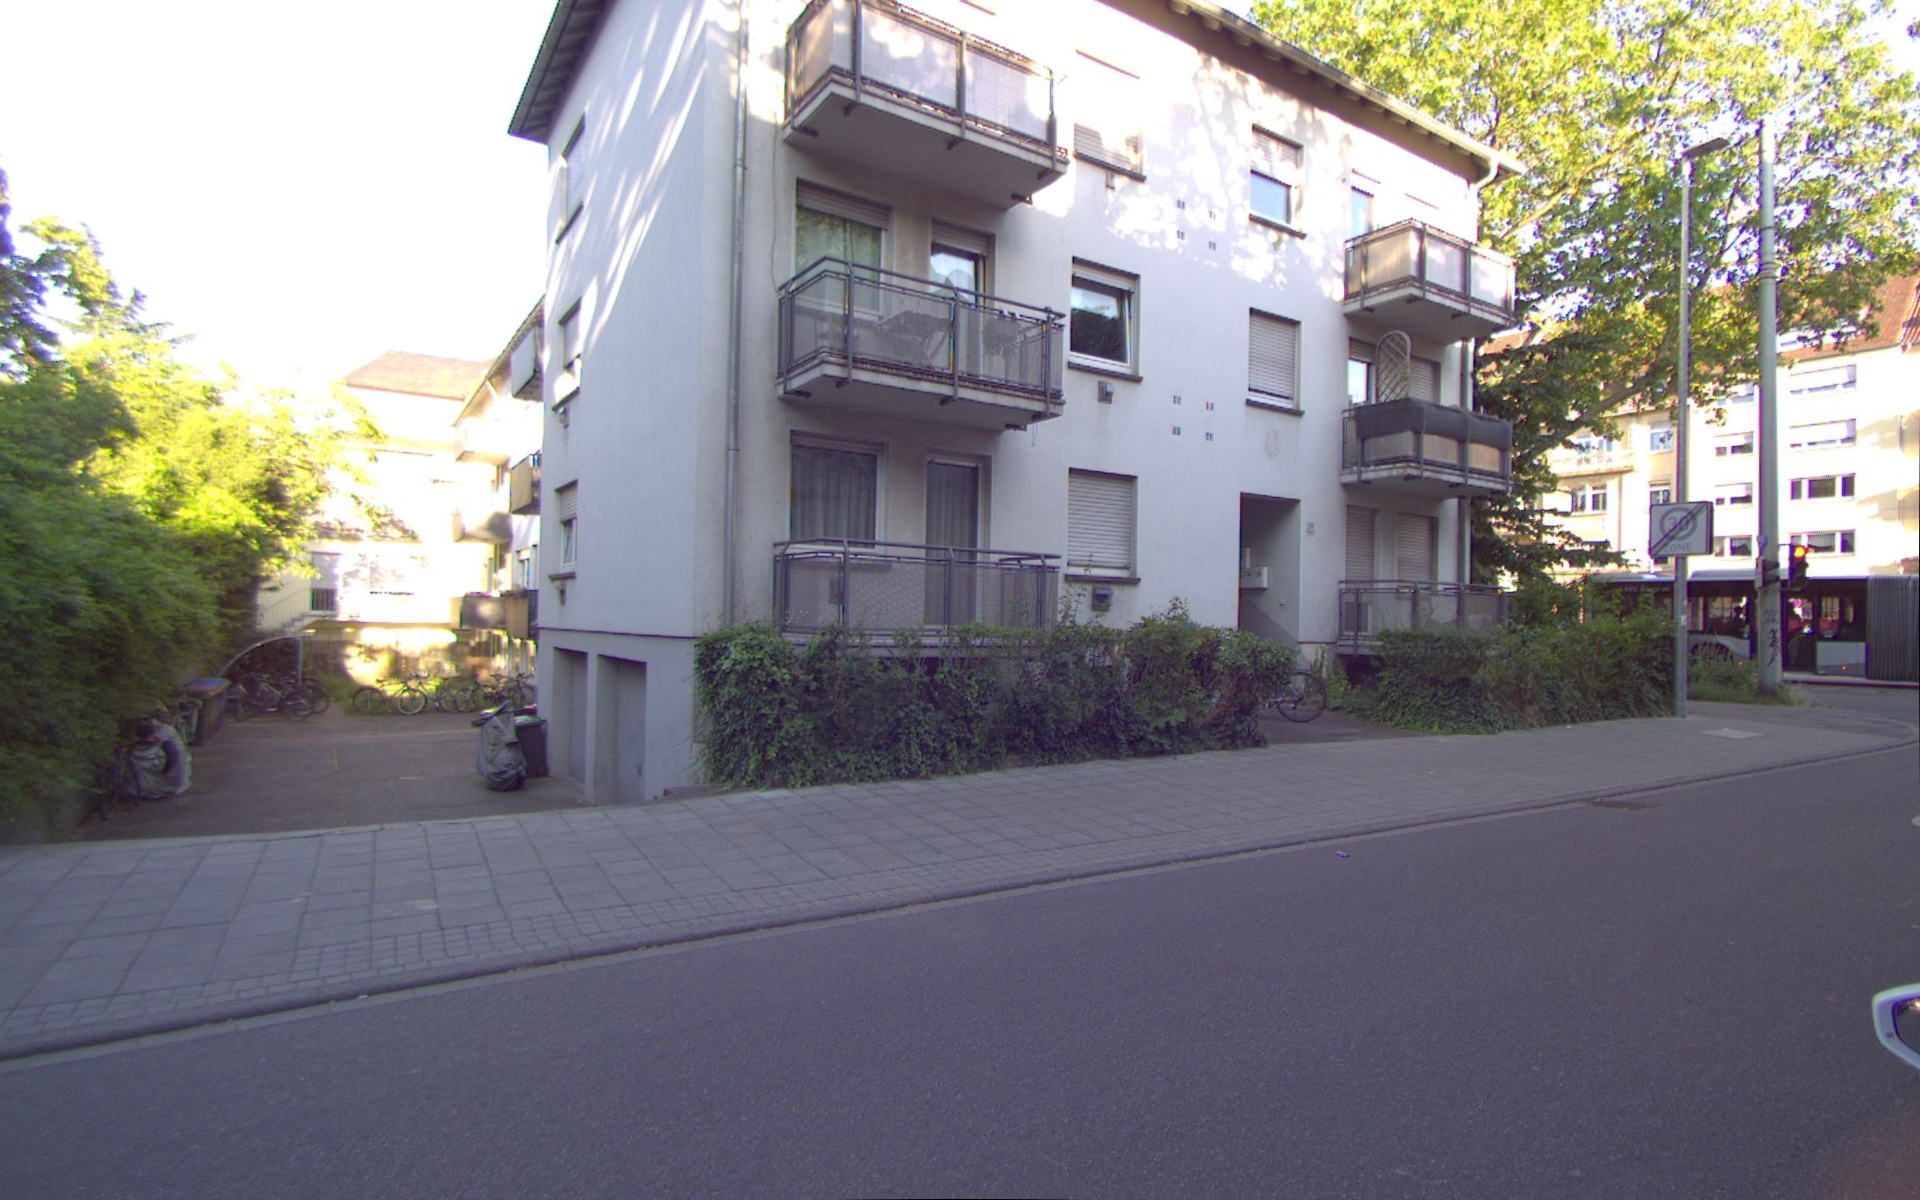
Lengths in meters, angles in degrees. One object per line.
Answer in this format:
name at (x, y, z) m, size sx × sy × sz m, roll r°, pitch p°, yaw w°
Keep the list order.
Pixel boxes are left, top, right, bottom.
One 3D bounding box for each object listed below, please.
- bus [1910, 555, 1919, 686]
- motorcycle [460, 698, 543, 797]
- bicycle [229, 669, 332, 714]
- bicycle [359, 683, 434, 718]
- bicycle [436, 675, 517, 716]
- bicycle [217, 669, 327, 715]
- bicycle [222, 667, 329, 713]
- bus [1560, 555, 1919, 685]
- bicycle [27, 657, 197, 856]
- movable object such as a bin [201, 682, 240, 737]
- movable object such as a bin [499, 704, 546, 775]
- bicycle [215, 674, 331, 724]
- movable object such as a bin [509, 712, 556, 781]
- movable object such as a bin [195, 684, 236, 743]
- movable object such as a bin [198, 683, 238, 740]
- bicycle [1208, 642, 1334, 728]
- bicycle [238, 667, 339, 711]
bus at (27.915, 0.472, 21.742) m, size 2.885 × 3.243 × 10.376 m, roll 1°, pitch -1°, yaw -37°
motorcycle at (-6.977, 2.195, 15.257) m, size 0.739 × 1.313 × 1.563 m, roll 2°, pitch -2°, yaw -41°
bicycle at (-18.936, 2.541, 28.069) m, size 2.311 × 1.192 × 0.689 m, roll 2°, pitch -4°, yaw -30°
bicycle at (-15.129, 2.690, 27.003) m, size 1.734 × 0.890 × 0.561 m, roll 2°, pitch -4°, yaw -30°
bicycle at (-13.475, 2.634, 28.004) m, size 1.982 × 1.085 × 0.561 m, roll 2°, pitch -4°, yaw -30°
bicycle at (-18.164, 2.407, 26.601) m, size 2.311 × 1.148 × 0.689 m, roll 2°, pitch -4°, yaw -30°
bicycle at (-18.590, 2.425, 27.347) m, size 2.311 × 1.192 × 0.689 m, roll 2°, pitch -4°, yaw -30°
bus at (22.367, 0.581, 29.084) m, size 2.885 × 3.243 × 8.116 m, roll 1°, pitch -1°, yaw -37°
bicycle at (-10.159, 1.707, 12.240) m, size 0.961 × 1.917 × 4.156 m, roll 1°, pitch -2°, yaw -32°
movable object such as a bin at (-15.924, 2.353, 21.643) m, size 0.606 × 1.129 × 0.795 m, roll 1°, pitch -3°, yaw -33°
movable object such as a bin at (-7.473, 2.364, 17.161) m, size 0.606 × 1.129 × 0.795 m, roll 1°, pitch -3°, yaw -33°
bicycle at (-16.899, 2.425, 24.784) m, size 2.268 × 1.148 × 0.689 m, roll 2°, pitch -4°, yaw -30°
movable object such as a bin at (-6.959, 2.371, 16.352) m, size 0.606 × 1.051 × 0.534 m, roll 1°, pitch -3°, yaw -34°
movable object such as a bin at (-15.049, 2.289, 20.312) m, size 0.606 × 1.129 × 0.795 m, roll 1°, pitch -3°, yaw -33°
movable object such as a bin at (-15.491, 2.322, 20.982) m, size 0.606 × 1.129 × 0.795 m, roll 1°, pitch -3°, yaw -33°
bicycle at (4.279, 1.149, 13.852) m, size 1.590 × 1.022 × 0.517 m, roll 3°, pitch 1°, yaw 20°
bicycle at (-19.207, 2.524, 28.797) m, size 2.311 × 1.192 × 0.689 m, roll 2°, pitch -4°, yaw -30°
